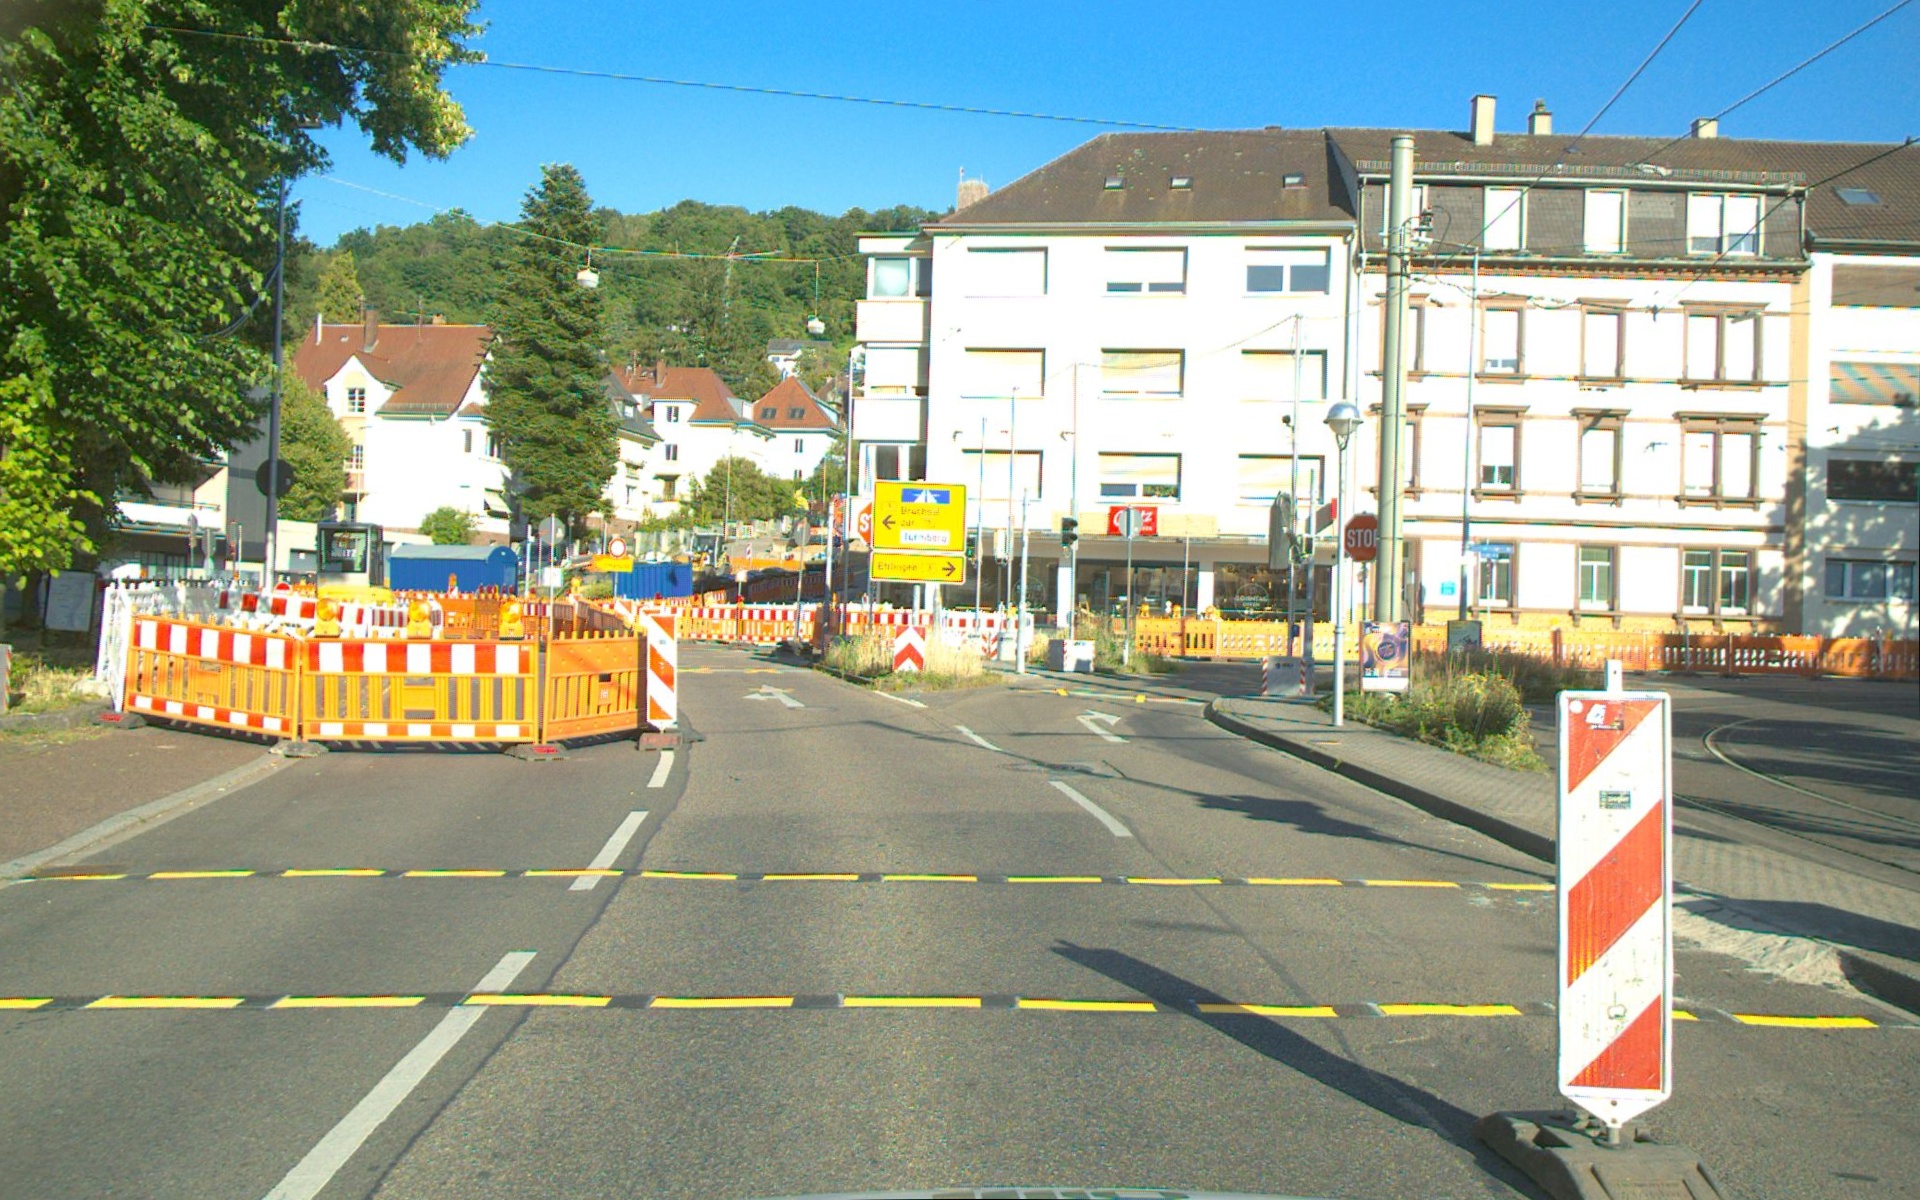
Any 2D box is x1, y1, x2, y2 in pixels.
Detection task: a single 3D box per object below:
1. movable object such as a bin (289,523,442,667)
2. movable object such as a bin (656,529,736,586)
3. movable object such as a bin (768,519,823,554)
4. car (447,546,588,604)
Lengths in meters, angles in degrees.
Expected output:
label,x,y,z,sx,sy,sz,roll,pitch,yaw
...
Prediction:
label,x,y,z,sx,sy,sz,roll,pitch,yaw
movable object such as a bin,-10.446,-0.095,29.339,1.615,2.365,3.916,1,0,-6
movable object such as a bin,-12.530,-2.004,78.788,1.907,2.538,4.554,1,0,17
movable object such as a bin,-11.372,-4.391,114.738,2.510,2.159,5.789,1,0,8
car,-17.521,-0.943,65.887,2.529,2.158,6.154,1,0,17
